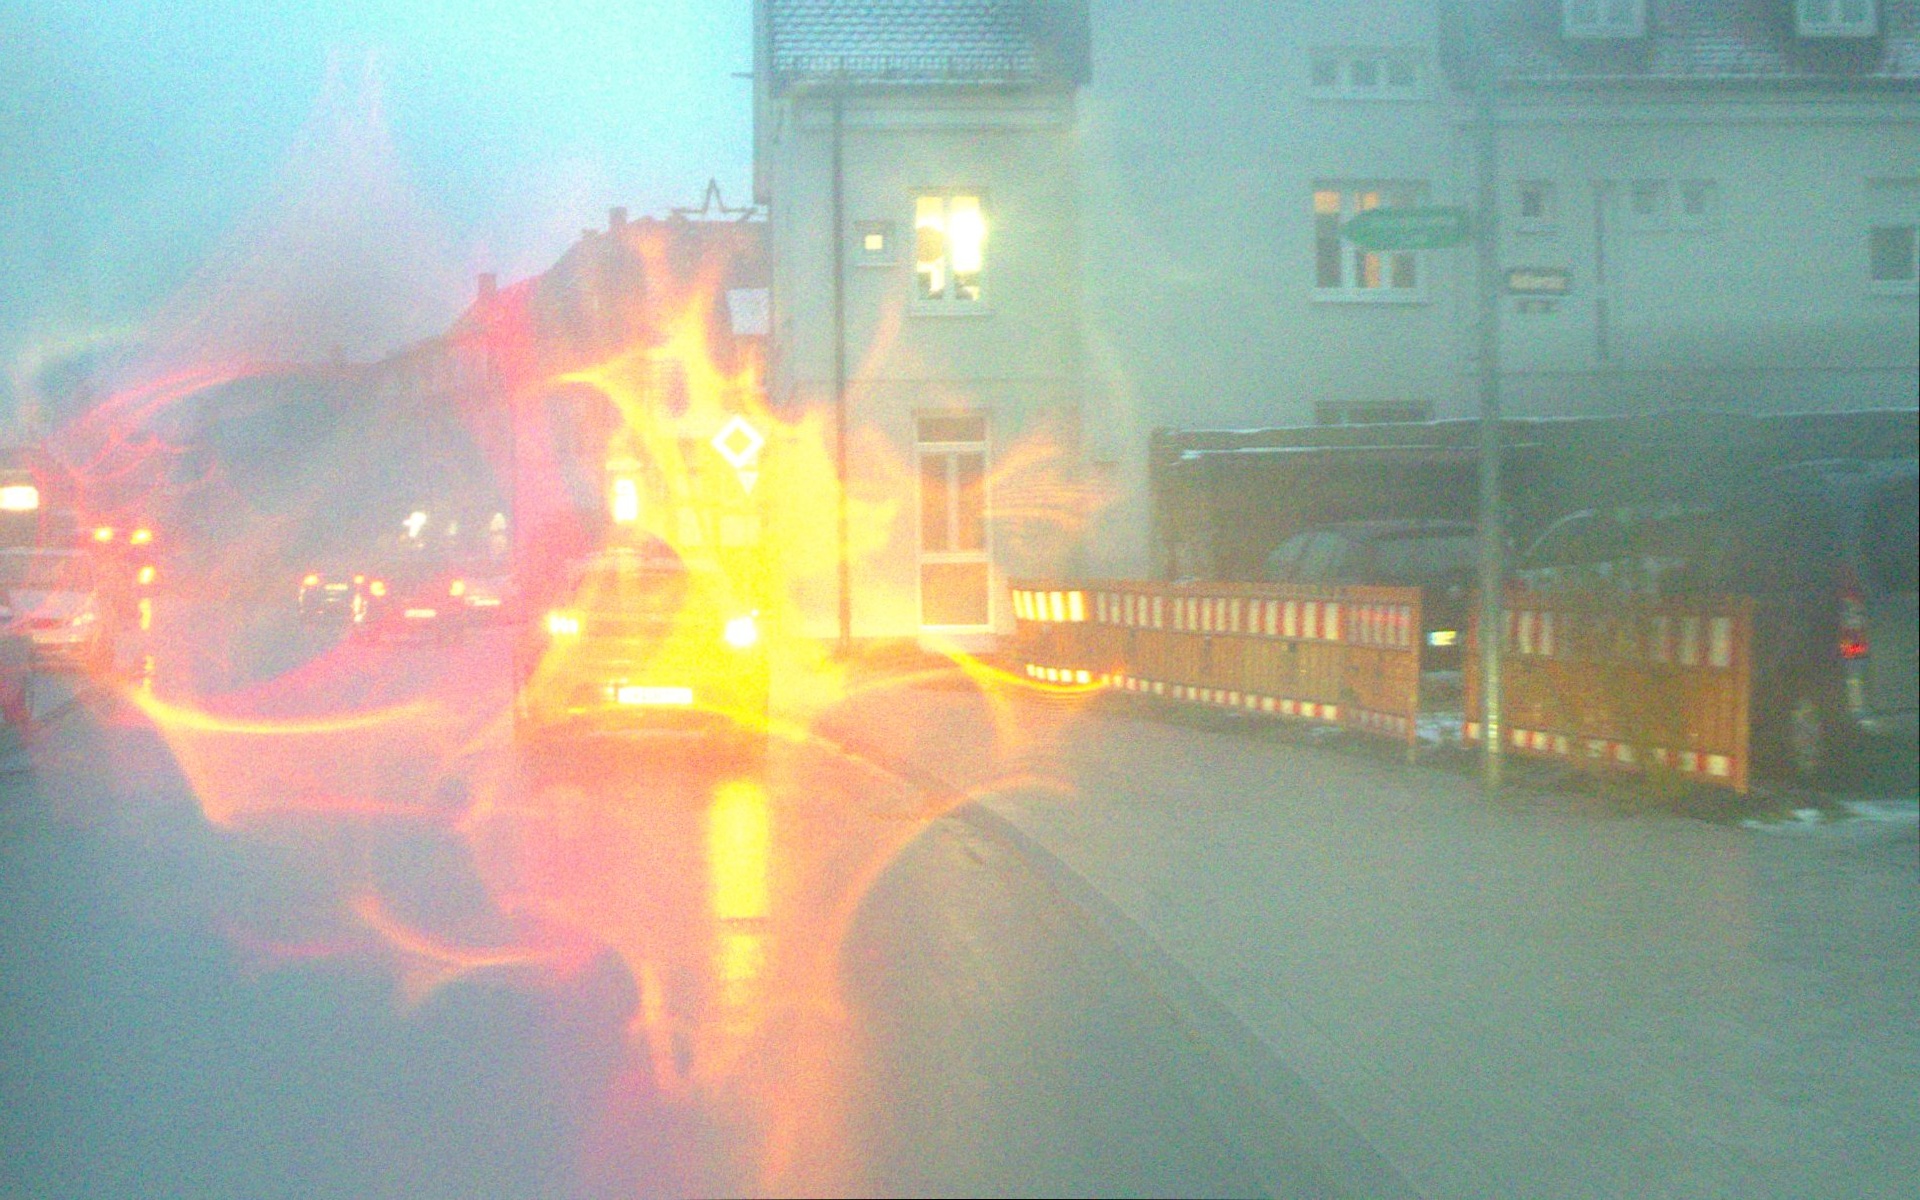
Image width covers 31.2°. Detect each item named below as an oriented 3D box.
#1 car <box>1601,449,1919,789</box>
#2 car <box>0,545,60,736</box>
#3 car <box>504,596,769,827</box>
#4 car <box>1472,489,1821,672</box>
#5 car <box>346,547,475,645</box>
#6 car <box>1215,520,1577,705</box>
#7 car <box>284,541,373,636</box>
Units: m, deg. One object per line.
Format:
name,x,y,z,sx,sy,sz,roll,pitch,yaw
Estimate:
car,5.337,0.026,20.287,1.993,1.759,4.351,-3,1,-3
car,-8.950,0.304,28.997,1.911,1.524,4.548,3,1,-6
car,-2.495,0.763,25.751,1.814,1.528,4.001,0,1,-8
car,6.069,-0.207,30.780,1.720,1.457,3.635,-3,2,-12
car,-9.368,-0.096,58.410,1.993,1.583,4.001,0,1,-12
car,3.691,0.064,29.720,1.886,1.457,3.635,-1,1,-14
car,-14.899,-0.299,81.302,1.993,2.195,4.001,0,1,-9
